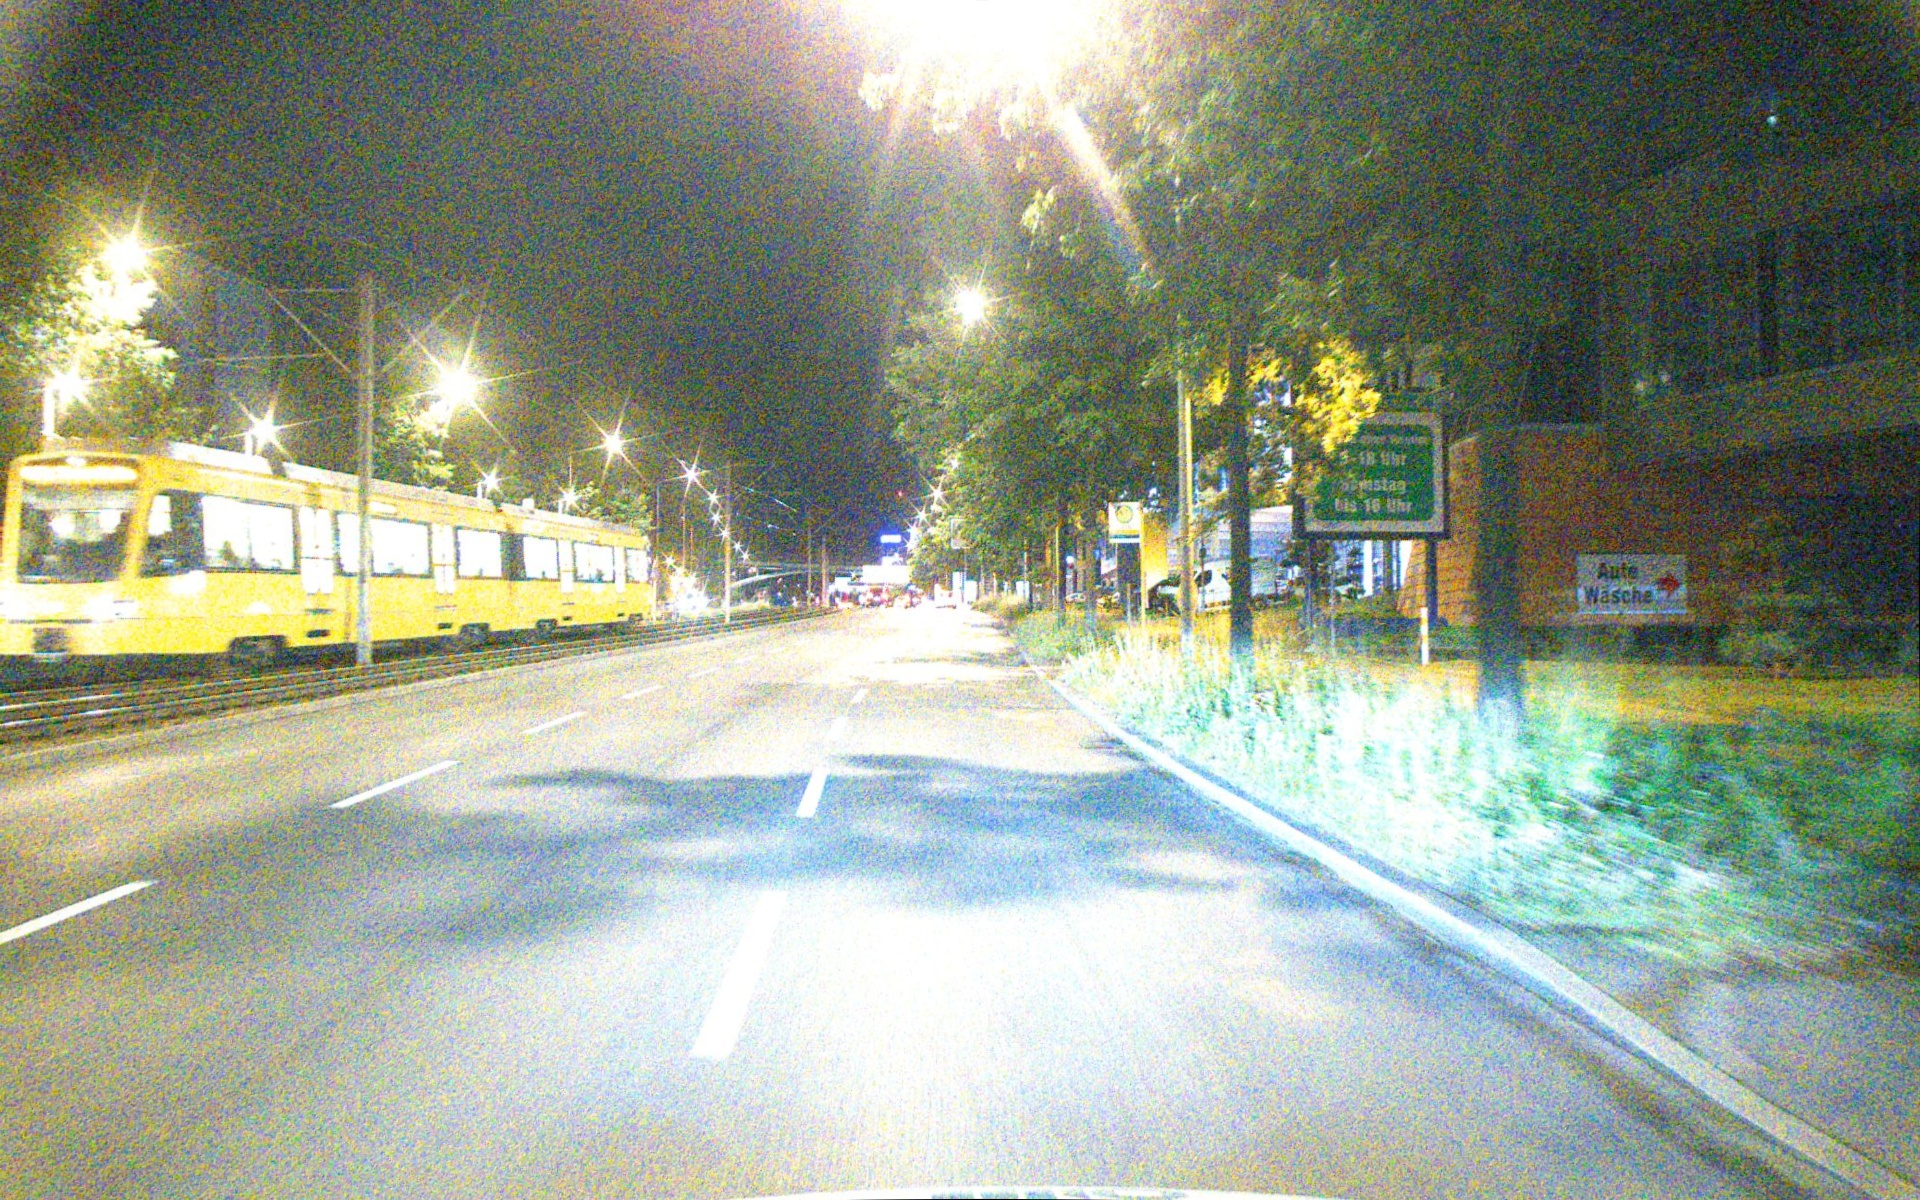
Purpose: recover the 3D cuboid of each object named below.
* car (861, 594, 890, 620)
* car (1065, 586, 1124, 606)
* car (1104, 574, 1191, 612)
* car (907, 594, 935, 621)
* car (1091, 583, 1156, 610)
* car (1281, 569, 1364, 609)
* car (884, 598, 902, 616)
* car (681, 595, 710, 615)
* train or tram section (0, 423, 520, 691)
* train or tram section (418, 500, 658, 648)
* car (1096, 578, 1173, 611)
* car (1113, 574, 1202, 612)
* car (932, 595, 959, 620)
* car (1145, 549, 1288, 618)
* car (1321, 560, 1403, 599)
[{"bbox_3d":[-6.913,0.586,135.393,2.217,2.049,4.825,0,0,-1],"label":"car"},{"bbox_3d":[10.022,-0.297,123.300,3.926,1.448,1.899,0,1,-19],"label":"car"},{"bbox_3d":[10.522,-0.401,92.958,4.383,1.716,1.994,-5,1,-12],"label":"car"},{"bbox_3d":[-3.272,0.626,139.048,2.308,2.166,4.825,0,0,-1],"label":"car"},{"bbox_3d":[10.322,-0.212,104.475,3.739,1.478,1.711,-3,1,-15],"label":"car"},{"bbox_3d":[16.584,-0.493,75.771,1.781,1.742,3.940,-1,0,-23],"label":"car"},{"bbox_3d":[-7.355,0.746,180.944,1.848,1.892,3.999,0,0,-1],"label":"car"},{"bbox_3d":[-21.167,0.421,132.466,1.626,1.543,3.911,0,0,1],"label":"car"},{"bbox_3d":[-13.106,-0.648,33.953,2.682,3.913,19.365,0,0,1],"label":"train or tram section"},{"bbox_3d":[-12.838,-0.702,53.009,2.702,3.894,18.671,0,0,1],"label":"train or tram section"},{"bbox_3d":[10.121,-0.299,96.000,4.009,1.595,1.850,-4,1,-12],"label":"car"},{"bbox_3d":[10.751,-0.383,90.197,4.381,1.841,1.994,-3,1,-12],"label":"car"},{"bbox_3d":[-1.315,0.694,149.880,2.378,2.150,4.825,1,0,-1],"label":"car"},{"bbox_3d":[11.658,-0.739,75.322,5.925,2.572,2.272,-5,1,-18],"label":"car"},{"bbox_3d":[19.231,-0.966,79.317,1.770,1.604,3.940,-5,1,-23],"label":"car"}]
